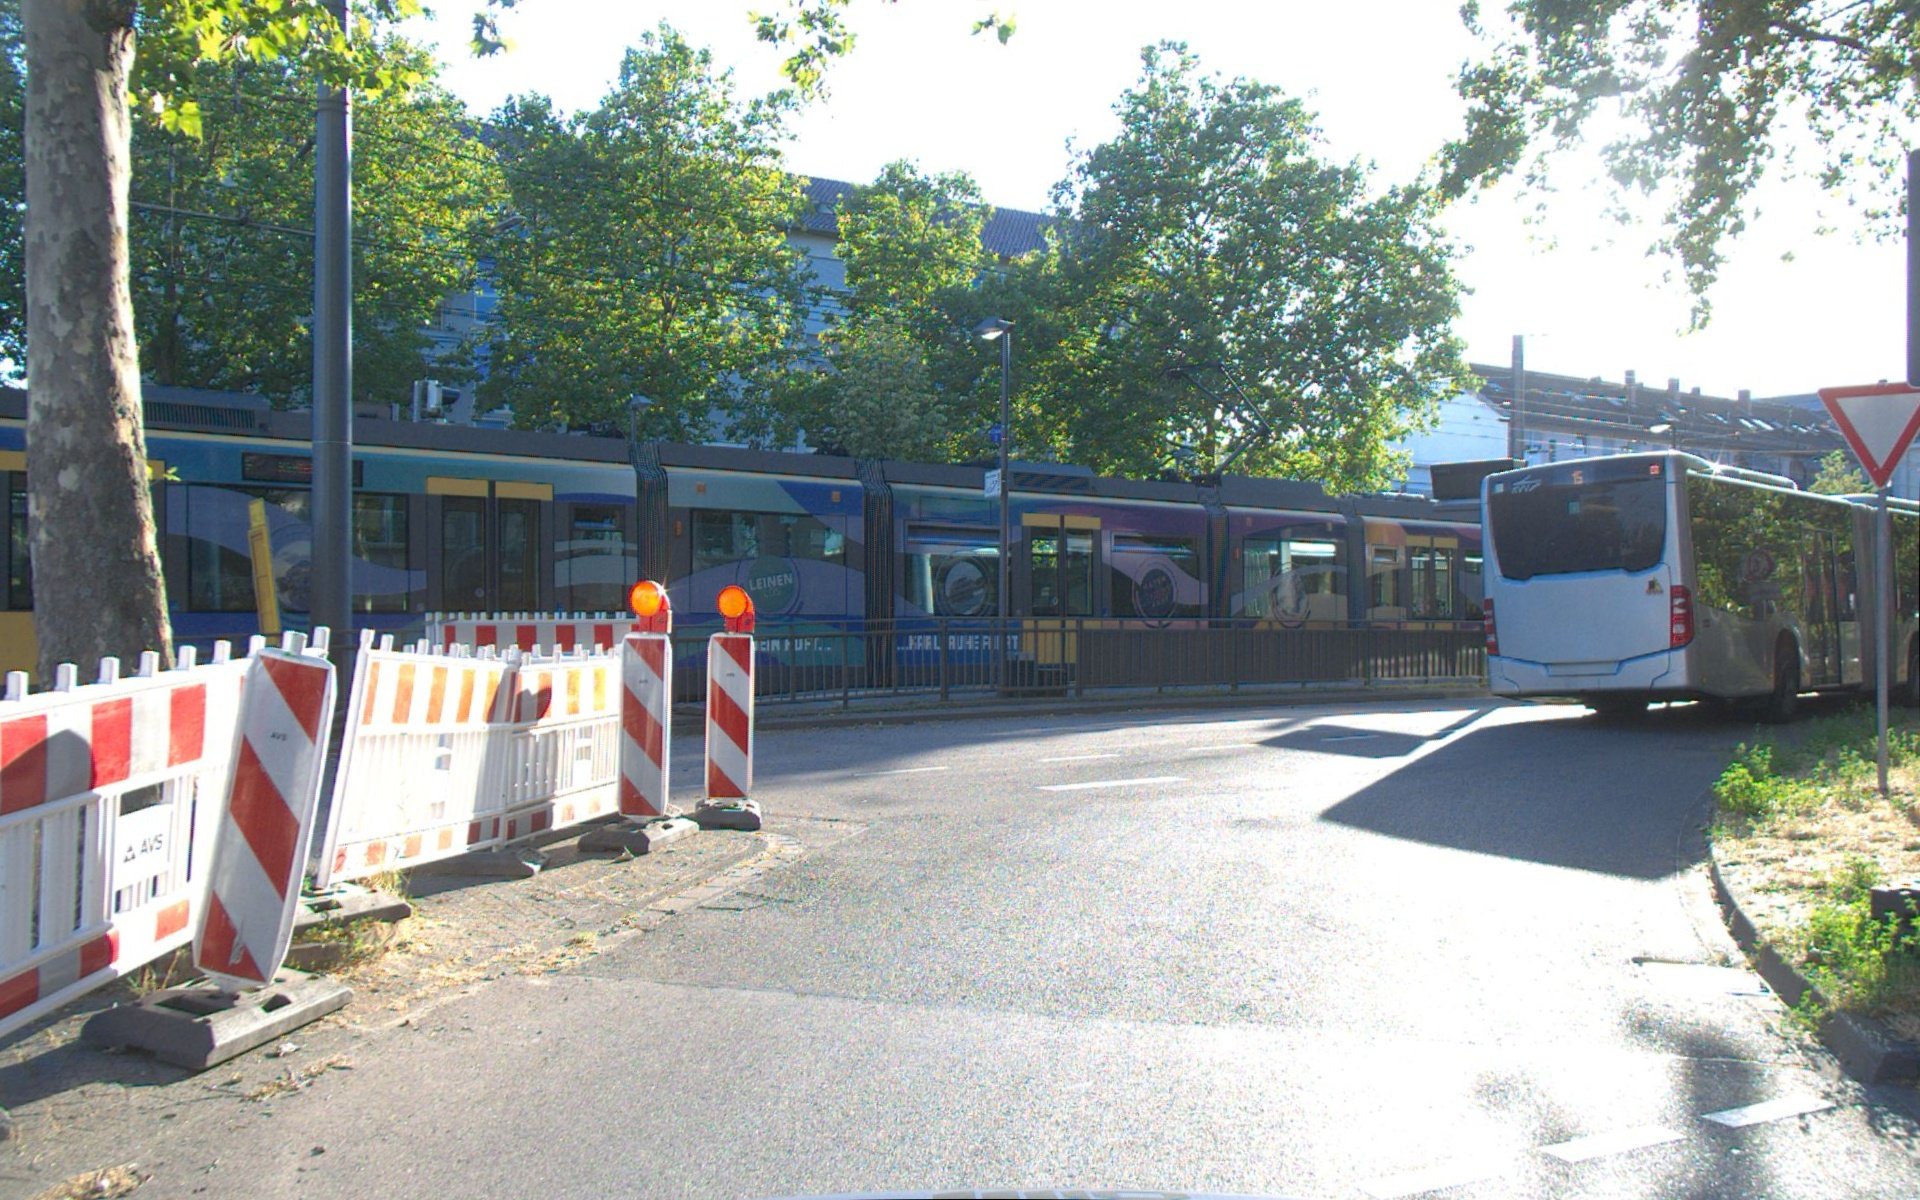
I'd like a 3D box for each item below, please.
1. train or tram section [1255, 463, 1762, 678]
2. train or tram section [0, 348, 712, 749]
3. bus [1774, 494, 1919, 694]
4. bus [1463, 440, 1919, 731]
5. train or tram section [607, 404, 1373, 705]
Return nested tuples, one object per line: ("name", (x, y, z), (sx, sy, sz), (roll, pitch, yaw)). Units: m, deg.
("train or tram section", (11.300, -0.468, 32.713), (13.192, 3.581, 2.614), (0, 0, -38))
("train or tram section", (-8.819, -0.457, 16.519), (13.282, 3.595, 2.815), (0, 0, -42))
("bus", (17.700, -0.103, 29.826), (8.911, 3.161, 2.673), (0, 0, -44))
("bus", (10.769, -0.172, 22.945), (2.696, 3.194, 10.627), (0, 0, 44))
("train or tram section", (1.095, -0.523, 24.853), (12.649, 3.611, 2.701), (0, 0, -38))
